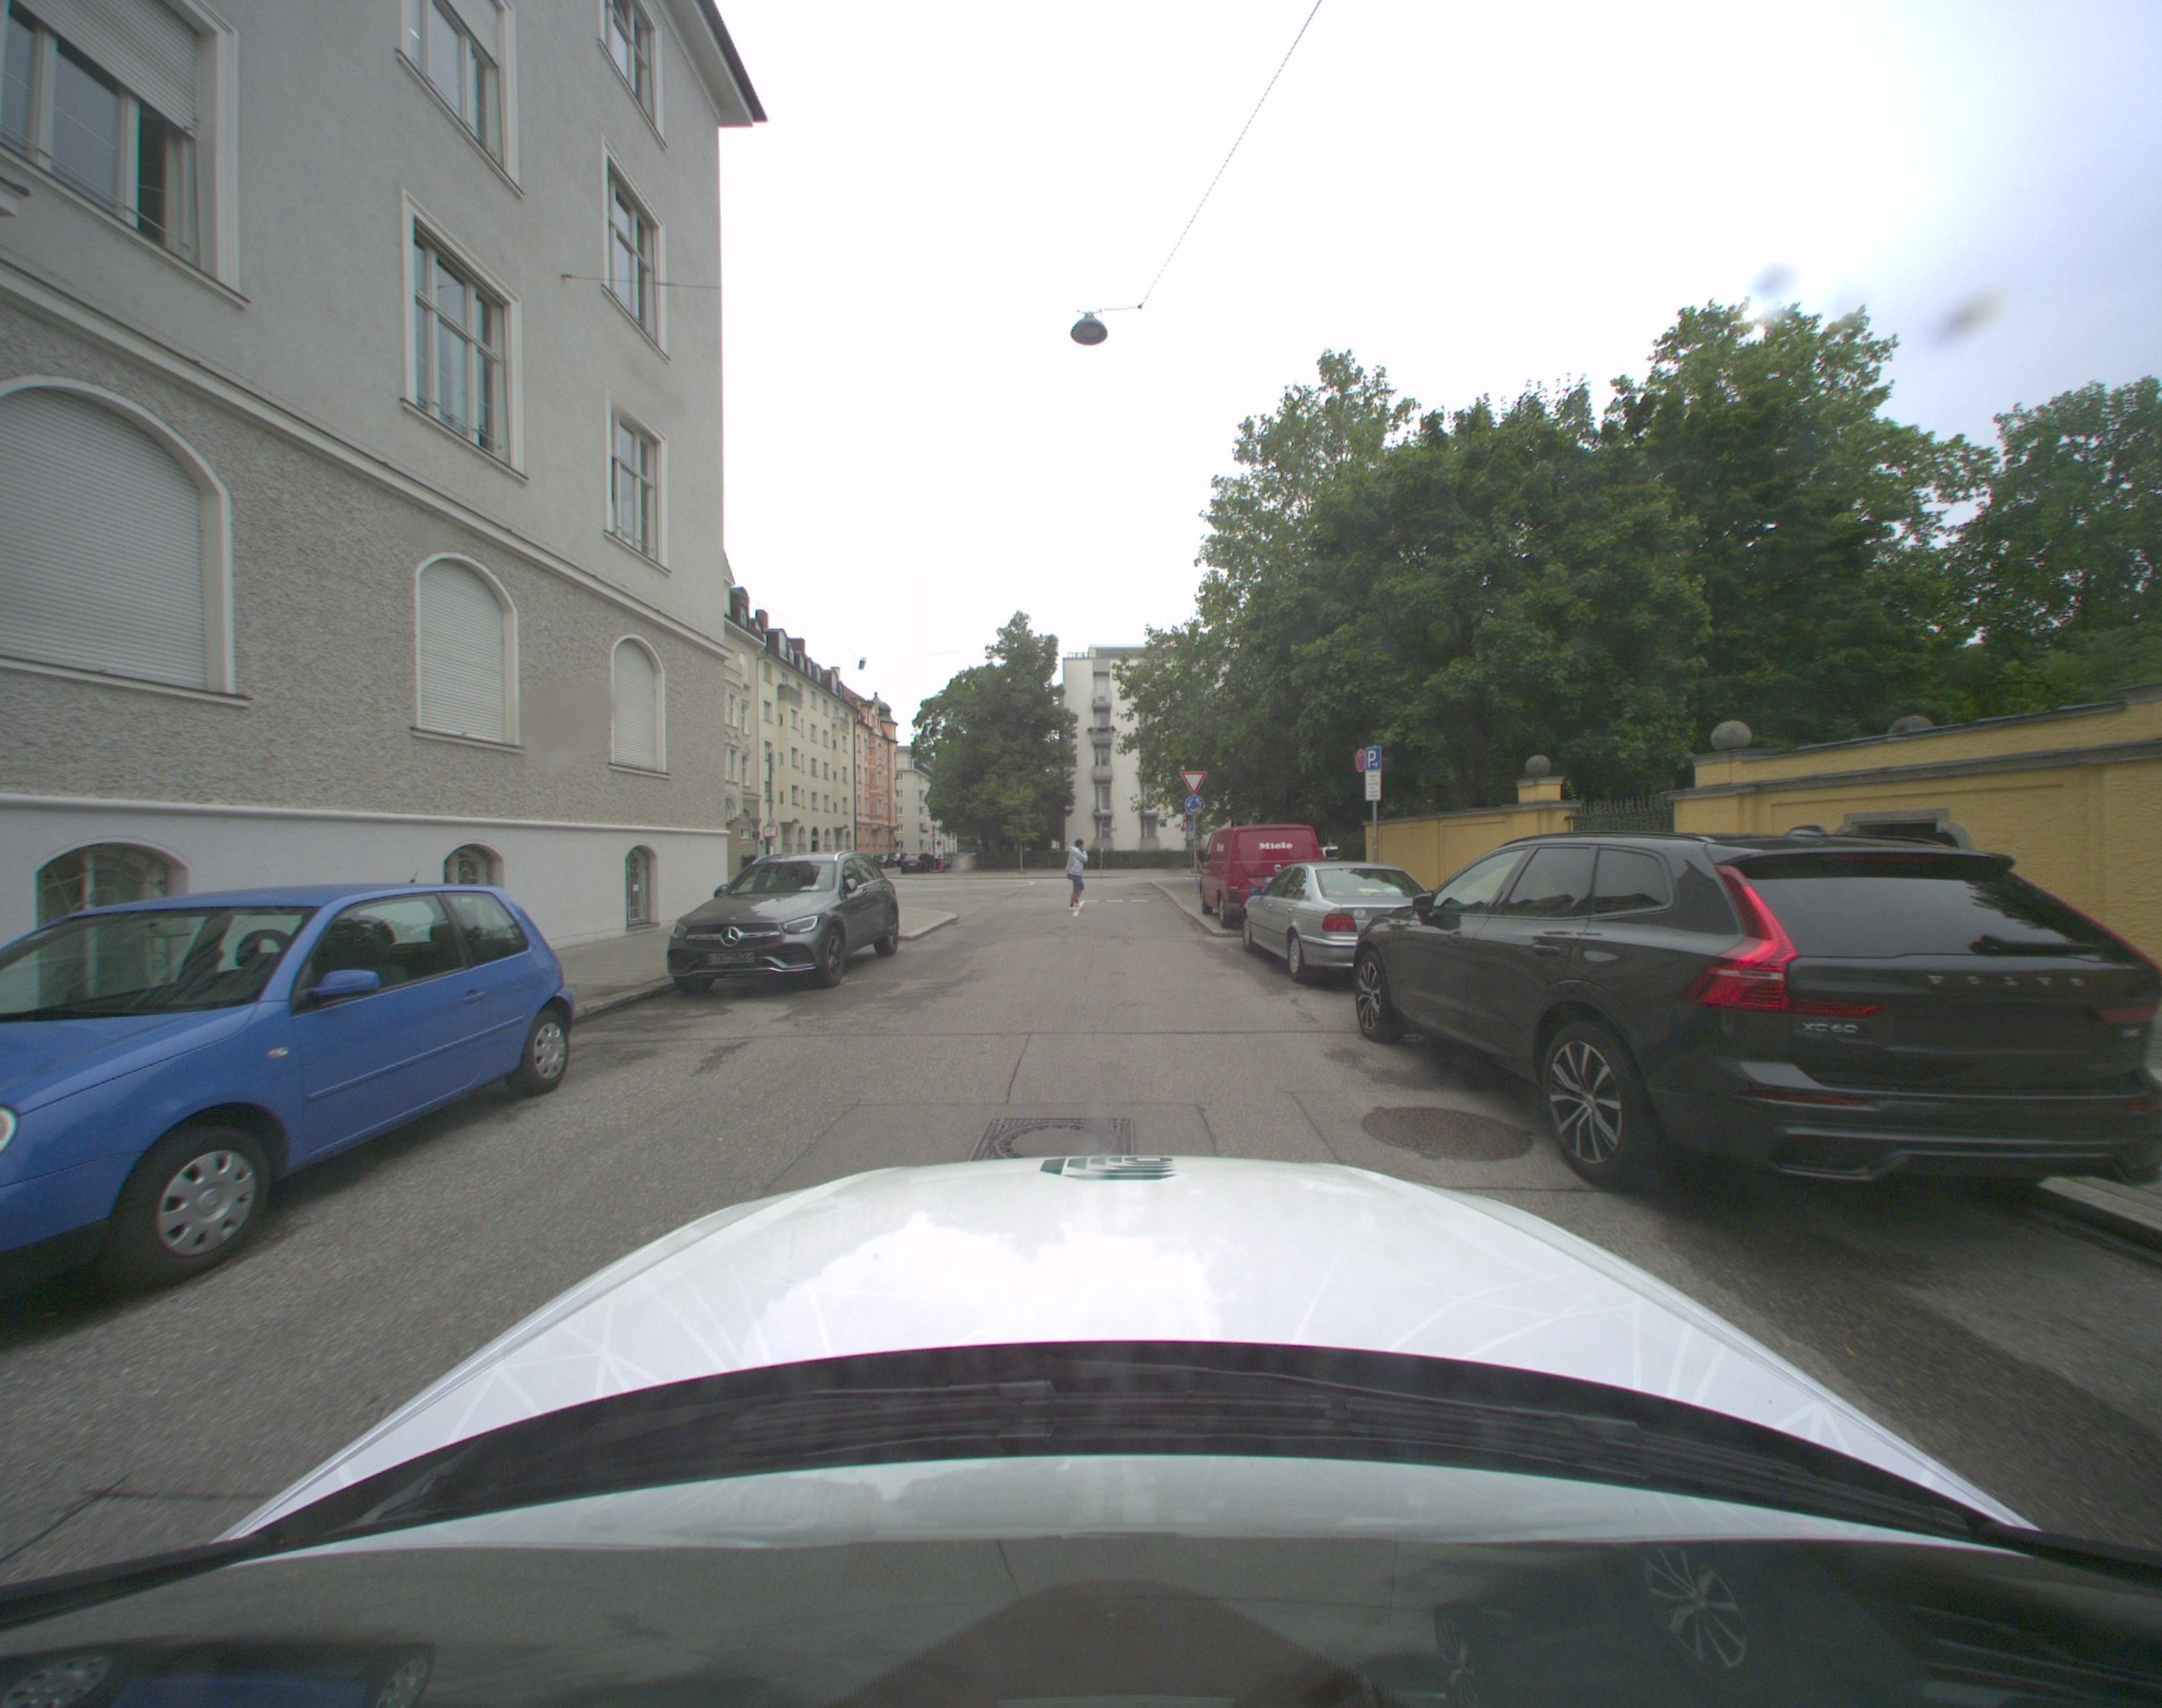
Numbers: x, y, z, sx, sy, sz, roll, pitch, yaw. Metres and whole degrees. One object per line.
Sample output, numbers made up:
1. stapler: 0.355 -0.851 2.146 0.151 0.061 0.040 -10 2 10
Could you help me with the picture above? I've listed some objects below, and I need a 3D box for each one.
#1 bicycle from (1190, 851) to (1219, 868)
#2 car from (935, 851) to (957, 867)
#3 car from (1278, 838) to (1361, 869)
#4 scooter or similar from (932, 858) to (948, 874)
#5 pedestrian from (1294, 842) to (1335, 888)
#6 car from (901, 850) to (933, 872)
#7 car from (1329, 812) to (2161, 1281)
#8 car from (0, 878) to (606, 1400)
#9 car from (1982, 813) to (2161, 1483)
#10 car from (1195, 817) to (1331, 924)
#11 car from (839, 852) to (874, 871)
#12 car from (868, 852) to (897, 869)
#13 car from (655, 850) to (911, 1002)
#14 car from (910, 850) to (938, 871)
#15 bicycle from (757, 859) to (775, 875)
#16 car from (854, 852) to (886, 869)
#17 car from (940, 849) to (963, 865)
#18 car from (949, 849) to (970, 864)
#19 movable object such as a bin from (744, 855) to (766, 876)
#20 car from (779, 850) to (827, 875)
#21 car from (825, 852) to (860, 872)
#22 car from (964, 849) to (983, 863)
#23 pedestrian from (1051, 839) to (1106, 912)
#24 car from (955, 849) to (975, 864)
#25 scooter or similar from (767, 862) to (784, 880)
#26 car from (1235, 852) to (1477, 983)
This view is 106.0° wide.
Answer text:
1. bicycle: 8.279 0.349 54.512 1.826 1.049 0.489 -1 0 -13
2. car: -14.252 0.487 85.978 1.832 1.505 4.108 -2 1 -5
3. car: 15.493 -0.029 52.918 4.829 1.918 1.831 -1 -1 -8
4. scooter or similar: -9.827 0.821 56.703 1.005 1.088 0.387 -1 0 -29
5. pedestrian: 6.893 0.318 24.102 1.005 1.338 0.878 -1 0 5
6. car: -11.926 0.470 59.364 1.817 1.505 4.412 -2 1 -6
7. car: 3.282 0.667 5.299 1.878 1.653 4.823 1 0 0
8. car: -4.187 0.921 4.062 1.689 1.414 3.656 -3 0 -5
9. car: 3.242 0.696 0.414 1.480 1.539 3.691 1 0 -1
10. car: 3.619 0.280 17.129 1.867 1.920 4.889 0 0 1
11. car: -20.553 0.653 74.689 1.969 1.581 4.407 -1 0 0
12. car: -20.640 0.653 84.856 1.969 1.581 4.408 -1 0 0
13. car: -3.759 0.784 11.238 1.740 1.602 4.497 -2 0 1
14. car: -12.441 0.468 64.593 1.791 1.505 4.225 -2 1 -6
15. bicycle: -21.946 0.922 56.821 0.561 1.049 1.829 -1 0 -2
16. car: -20.623 0.655 79.855 1.969 1.581 4.407 -1 0 0
17. car: -14.372 0.326 90.587 1.829 1.634 4.114 -2 1 -1
18. car: -14.324 0.270 96.255 1.828 1.634 3.820 -2 1 1
19. movable object such as a bin: -23.831 0.834 59.546 1.087 1.425 1.173 -1 0 0
20. car: -20.140 0.584 59.251 1.970 1.700 4.836 -1 0 -2
21. car: -20.391 0.635 69.810 1.972 1.616 4.705 -1 0 -5
22. car: -13.937 0.277 105.382 1.828 1.634 3.820 -2 1 1
23. pedestrian: -0.077 0.525 20.414 1.055 1.771 0.868 -1 0 -31
24. car: -14.261 0.278 100.300 1.828 1.634 3.820 -2 1 1
25. scooter or similar: -20.289 1.103 54.038 1.200 1.193 0.471 -1 0 37
26. car: 3.527 0.714 11.396 1.879 1.448 4.367 1 0 -1
